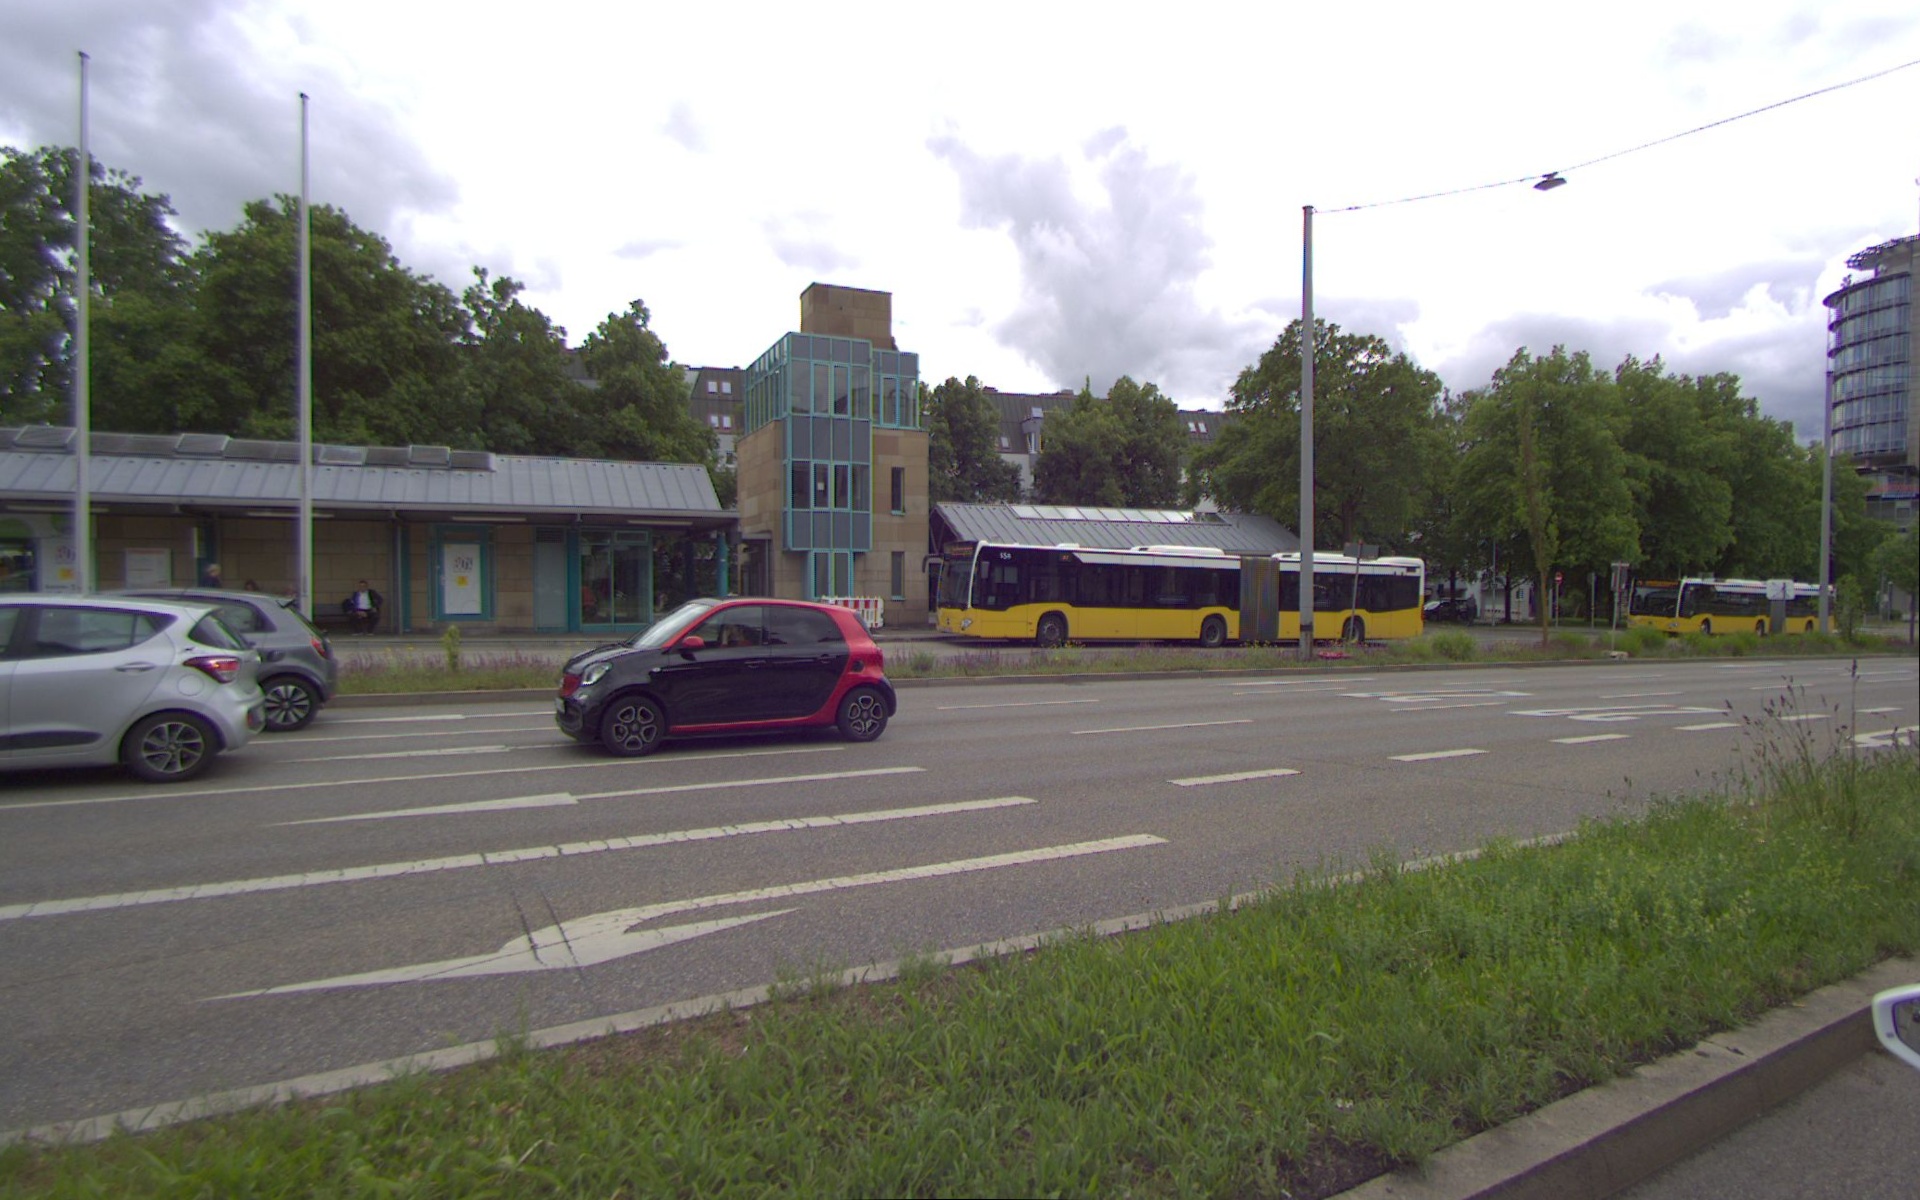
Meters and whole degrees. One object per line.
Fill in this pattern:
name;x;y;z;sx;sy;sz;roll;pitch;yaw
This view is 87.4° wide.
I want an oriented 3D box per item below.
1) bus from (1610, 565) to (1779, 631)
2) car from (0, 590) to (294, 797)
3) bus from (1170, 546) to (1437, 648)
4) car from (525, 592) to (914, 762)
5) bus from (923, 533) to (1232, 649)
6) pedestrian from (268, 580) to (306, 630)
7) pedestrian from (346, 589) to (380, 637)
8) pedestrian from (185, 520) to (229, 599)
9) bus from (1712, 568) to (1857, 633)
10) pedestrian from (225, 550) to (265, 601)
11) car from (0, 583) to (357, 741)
bus;39.047;-0.097;53.259;10.608;3.205;3.069;1;2;-30
car;-7.633;0.682;8.026;3.747;1.485;1.736;2;0;-32
bus;11.907;-0.092;34.597;9.171;3.174;2.801;1;3;-24
car;-2.525;0.725;10.788;3.727;1.528;1.649;1;0;-32
bus;3.699;-0.240;30.713;9.312;3.174;2.766;1;2;-26
pedestrian;-15.630;0.123;23.350;0.650;1.136;0.617;1;0;-28
pedestrian;-14.219;0.309;23.947;0.650;1.136;0.617;1;0;-28
pedestrian;-16.393;-0.876;21.887;0.650;1.671;0.617;1;0;-28
bus;47.996;0.047;58.362;9.790;3.502;3.017;1;2;-29
pedestrian;-16.438;-0.552;23.112;0.650;1.136;0.617;1;0;-28
car;-8.940;0.612;10.930;3.950;1.528;1.808;1;0;-28
